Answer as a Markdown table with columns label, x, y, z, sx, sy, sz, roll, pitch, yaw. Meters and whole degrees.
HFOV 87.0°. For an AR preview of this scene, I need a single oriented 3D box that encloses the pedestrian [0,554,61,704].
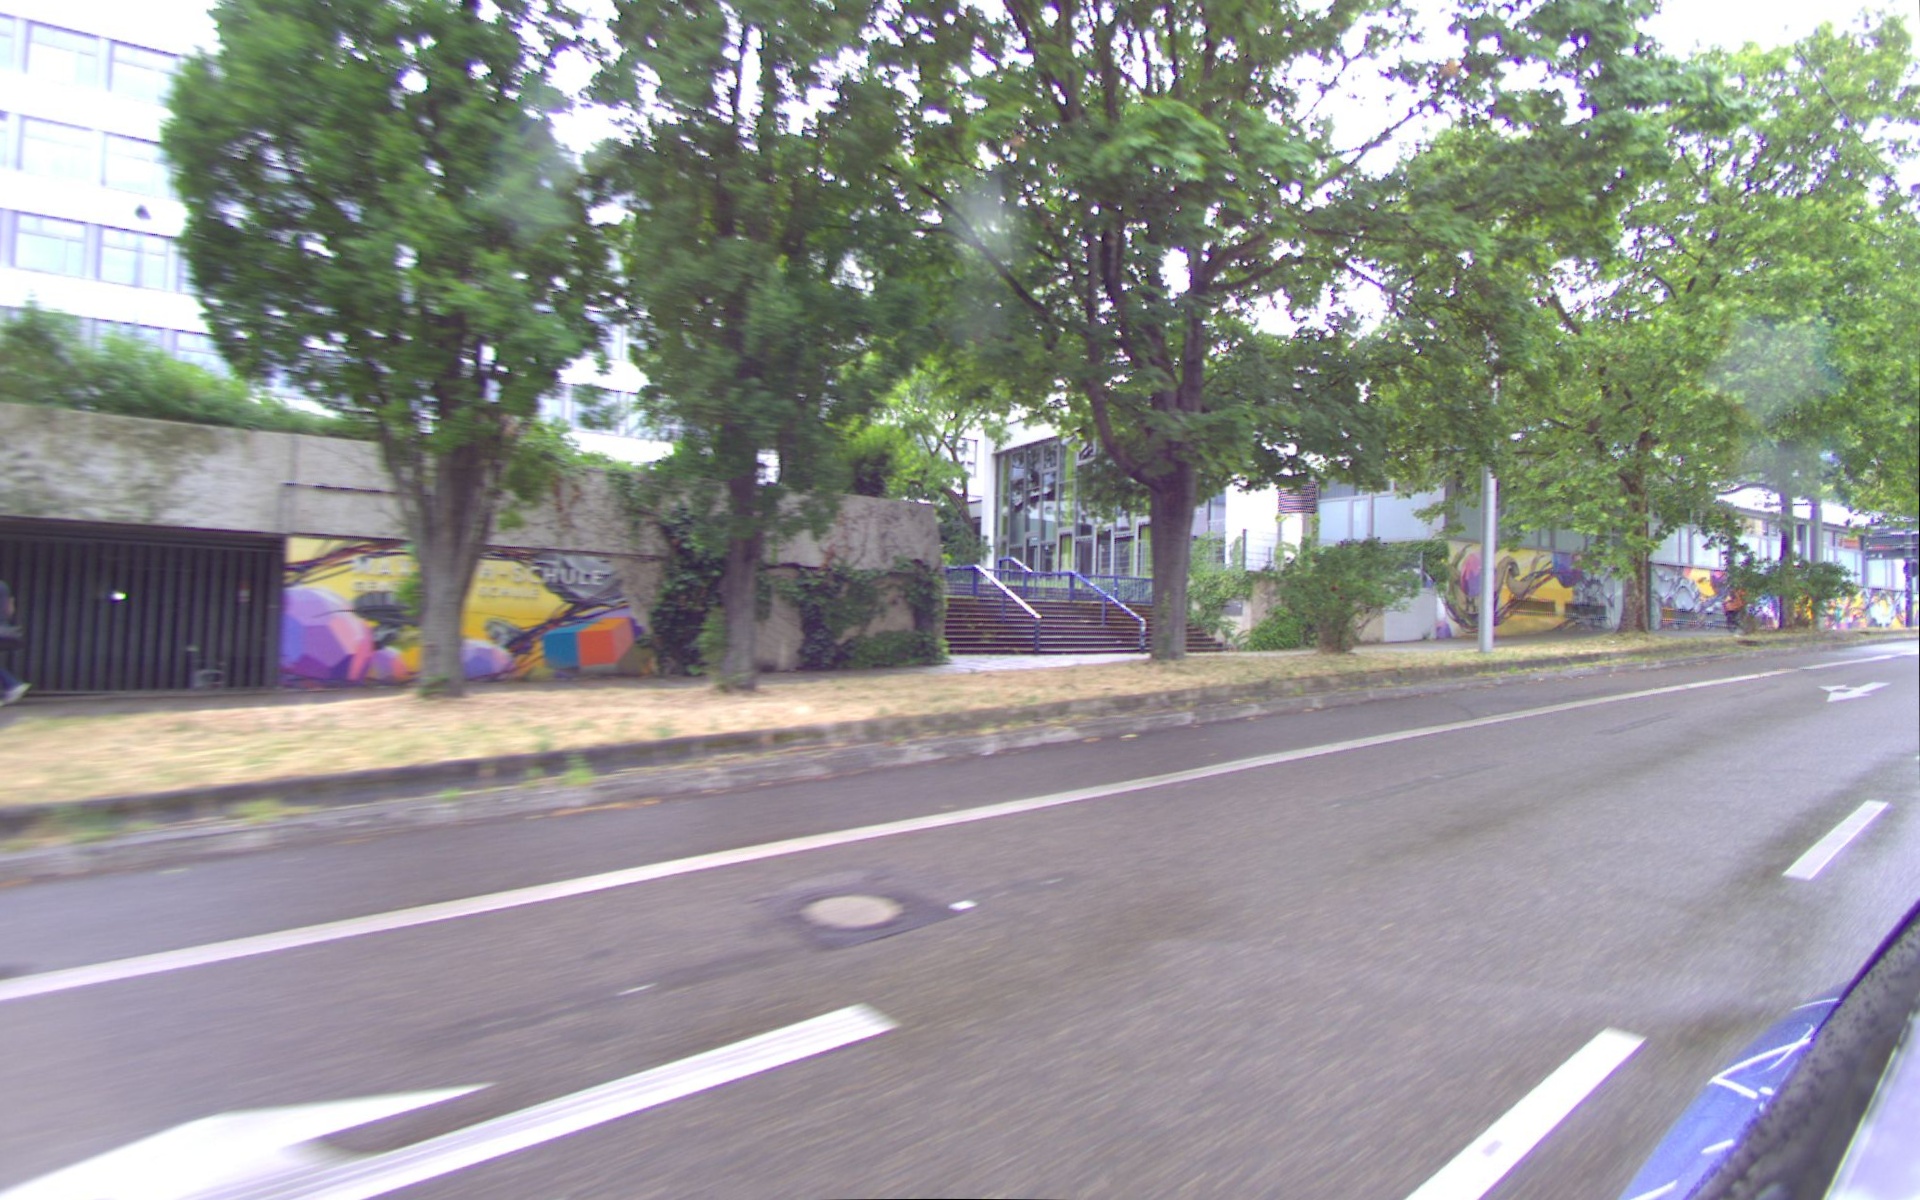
| label | x | y | z | sx | sy | sz | roll | pitch | yaw |
| --- | --- | --- | --- | --- | --- | --- | --- | --- | --- |
| pedestrian | -12.377 | 0.360 | 13.047 | 1.035 | 1.888 | 0.810 | 0 | 0 | -31 |

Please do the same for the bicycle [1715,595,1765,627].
| label | x | y | z | sx | sy | sz | roll | pitch | yaw |
| --- | --- | --- | --- | --- | --- | --- | --- | --- | --- |
| bicycle | 28.632 | 0.385 | 37.152 | 2.155 | 1.126 | 0.809 | 0 | 0 | -34 |

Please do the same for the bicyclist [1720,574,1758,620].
| label | x | y | z | sx | sy | sz | roll | pitch | yaw |
| --- | --- | --- | --- | --- | --- | --- | --- | --- | --- |
| bicyclist | 28.574 | -0.118 | 37.128 | 1.026 | 1.648 | 0.809 | 0 | 0 | -33 |
